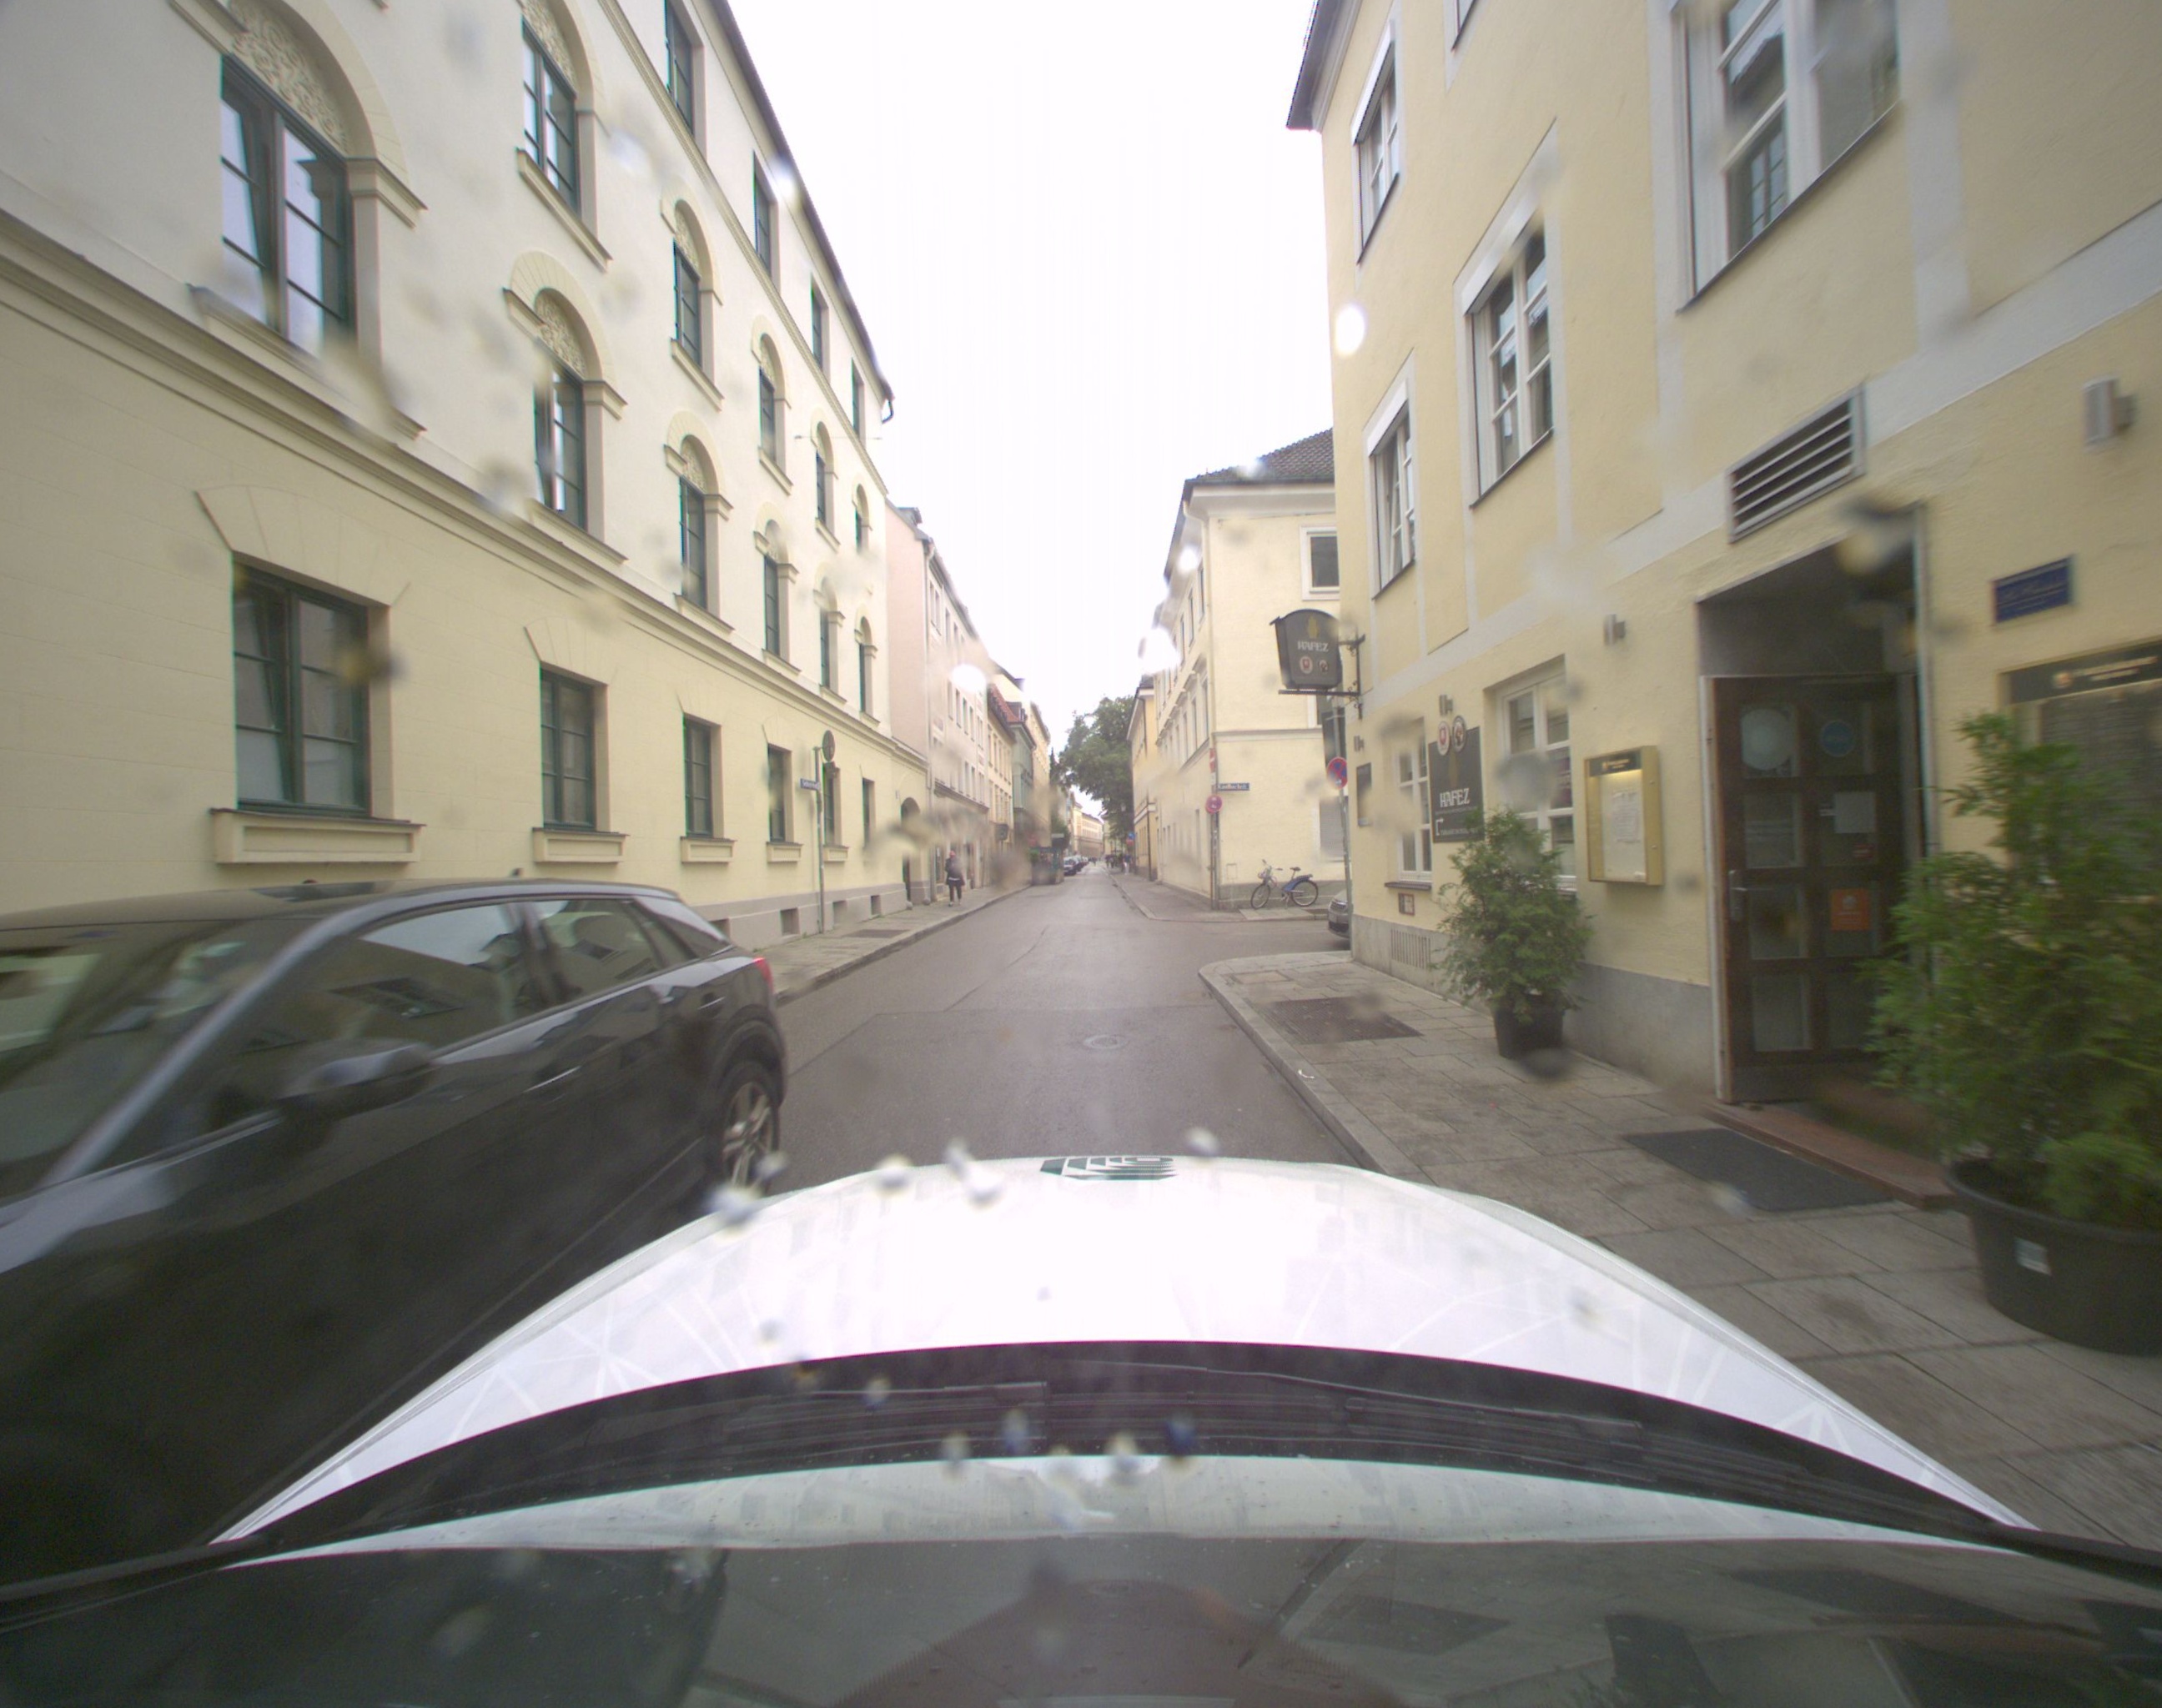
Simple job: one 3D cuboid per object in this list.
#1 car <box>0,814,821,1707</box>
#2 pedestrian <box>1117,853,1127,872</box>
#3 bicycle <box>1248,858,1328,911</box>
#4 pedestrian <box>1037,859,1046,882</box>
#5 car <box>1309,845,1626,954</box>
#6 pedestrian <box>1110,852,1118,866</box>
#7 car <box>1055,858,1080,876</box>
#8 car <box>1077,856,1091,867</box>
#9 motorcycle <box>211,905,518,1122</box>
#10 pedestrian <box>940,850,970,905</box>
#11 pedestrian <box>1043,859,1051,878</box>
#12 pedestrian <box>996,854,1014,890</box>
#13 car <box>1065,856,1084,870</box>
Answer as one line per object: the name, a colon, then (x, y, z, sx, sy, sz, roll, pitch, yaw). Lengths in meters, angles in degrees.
car: (-2.348, 0.770, 2.222, 1.805, 1.594, 4.002, -2, 0, 2)
pedestrian: (3.794, 0.772, 75.907, 0.877, 1.802, 1.046, -1, 0, 1)
bicycle: (4.967, 0.723, 19.566, 1.751, 1.144, 0.586, -3, 2, 1)
pedestrian: (-2.319, 0.943, 47.982, 0.508, 1.326, 0.630, -1, 0, -1)
car: (5.710, 0.638, 12.415, 3.999, 1.440, 1.766, -1, 2, 2)
pedestrian: (4.054, 0.625, 100.636, 1.012, 1.802, 1.349, -1, 0, 2)
car: (-1.126, 1.058, 69.442, 1.772, 1.466, 3.666, -1, 0, 4)
car: (0.483, 1.065, 118.845, 1.772, 1.466, 3.545, -1, 0, 4)
motorcycle: (-4.871, 1.005, 5.718, 0.600, 1.174, 1.709, -1, 0, 1)
pedestrian: (-4.135, 0.771, 26.848, 0.807, 1.755, 0.989, -1, 1, -2)
pedestrian: (-2.327, 0.998, 55.387, 0.508, 1.237, 0.630, -1, 0, -1)
pedestrian: (-3.652, 0.847, 39.156, 0.763, 1.708, 0.785, -2, 0, -2)
car: (-0.673, 1.015, 89.120, 1.772, 1.466, 3.545, -1, 0, 4)
